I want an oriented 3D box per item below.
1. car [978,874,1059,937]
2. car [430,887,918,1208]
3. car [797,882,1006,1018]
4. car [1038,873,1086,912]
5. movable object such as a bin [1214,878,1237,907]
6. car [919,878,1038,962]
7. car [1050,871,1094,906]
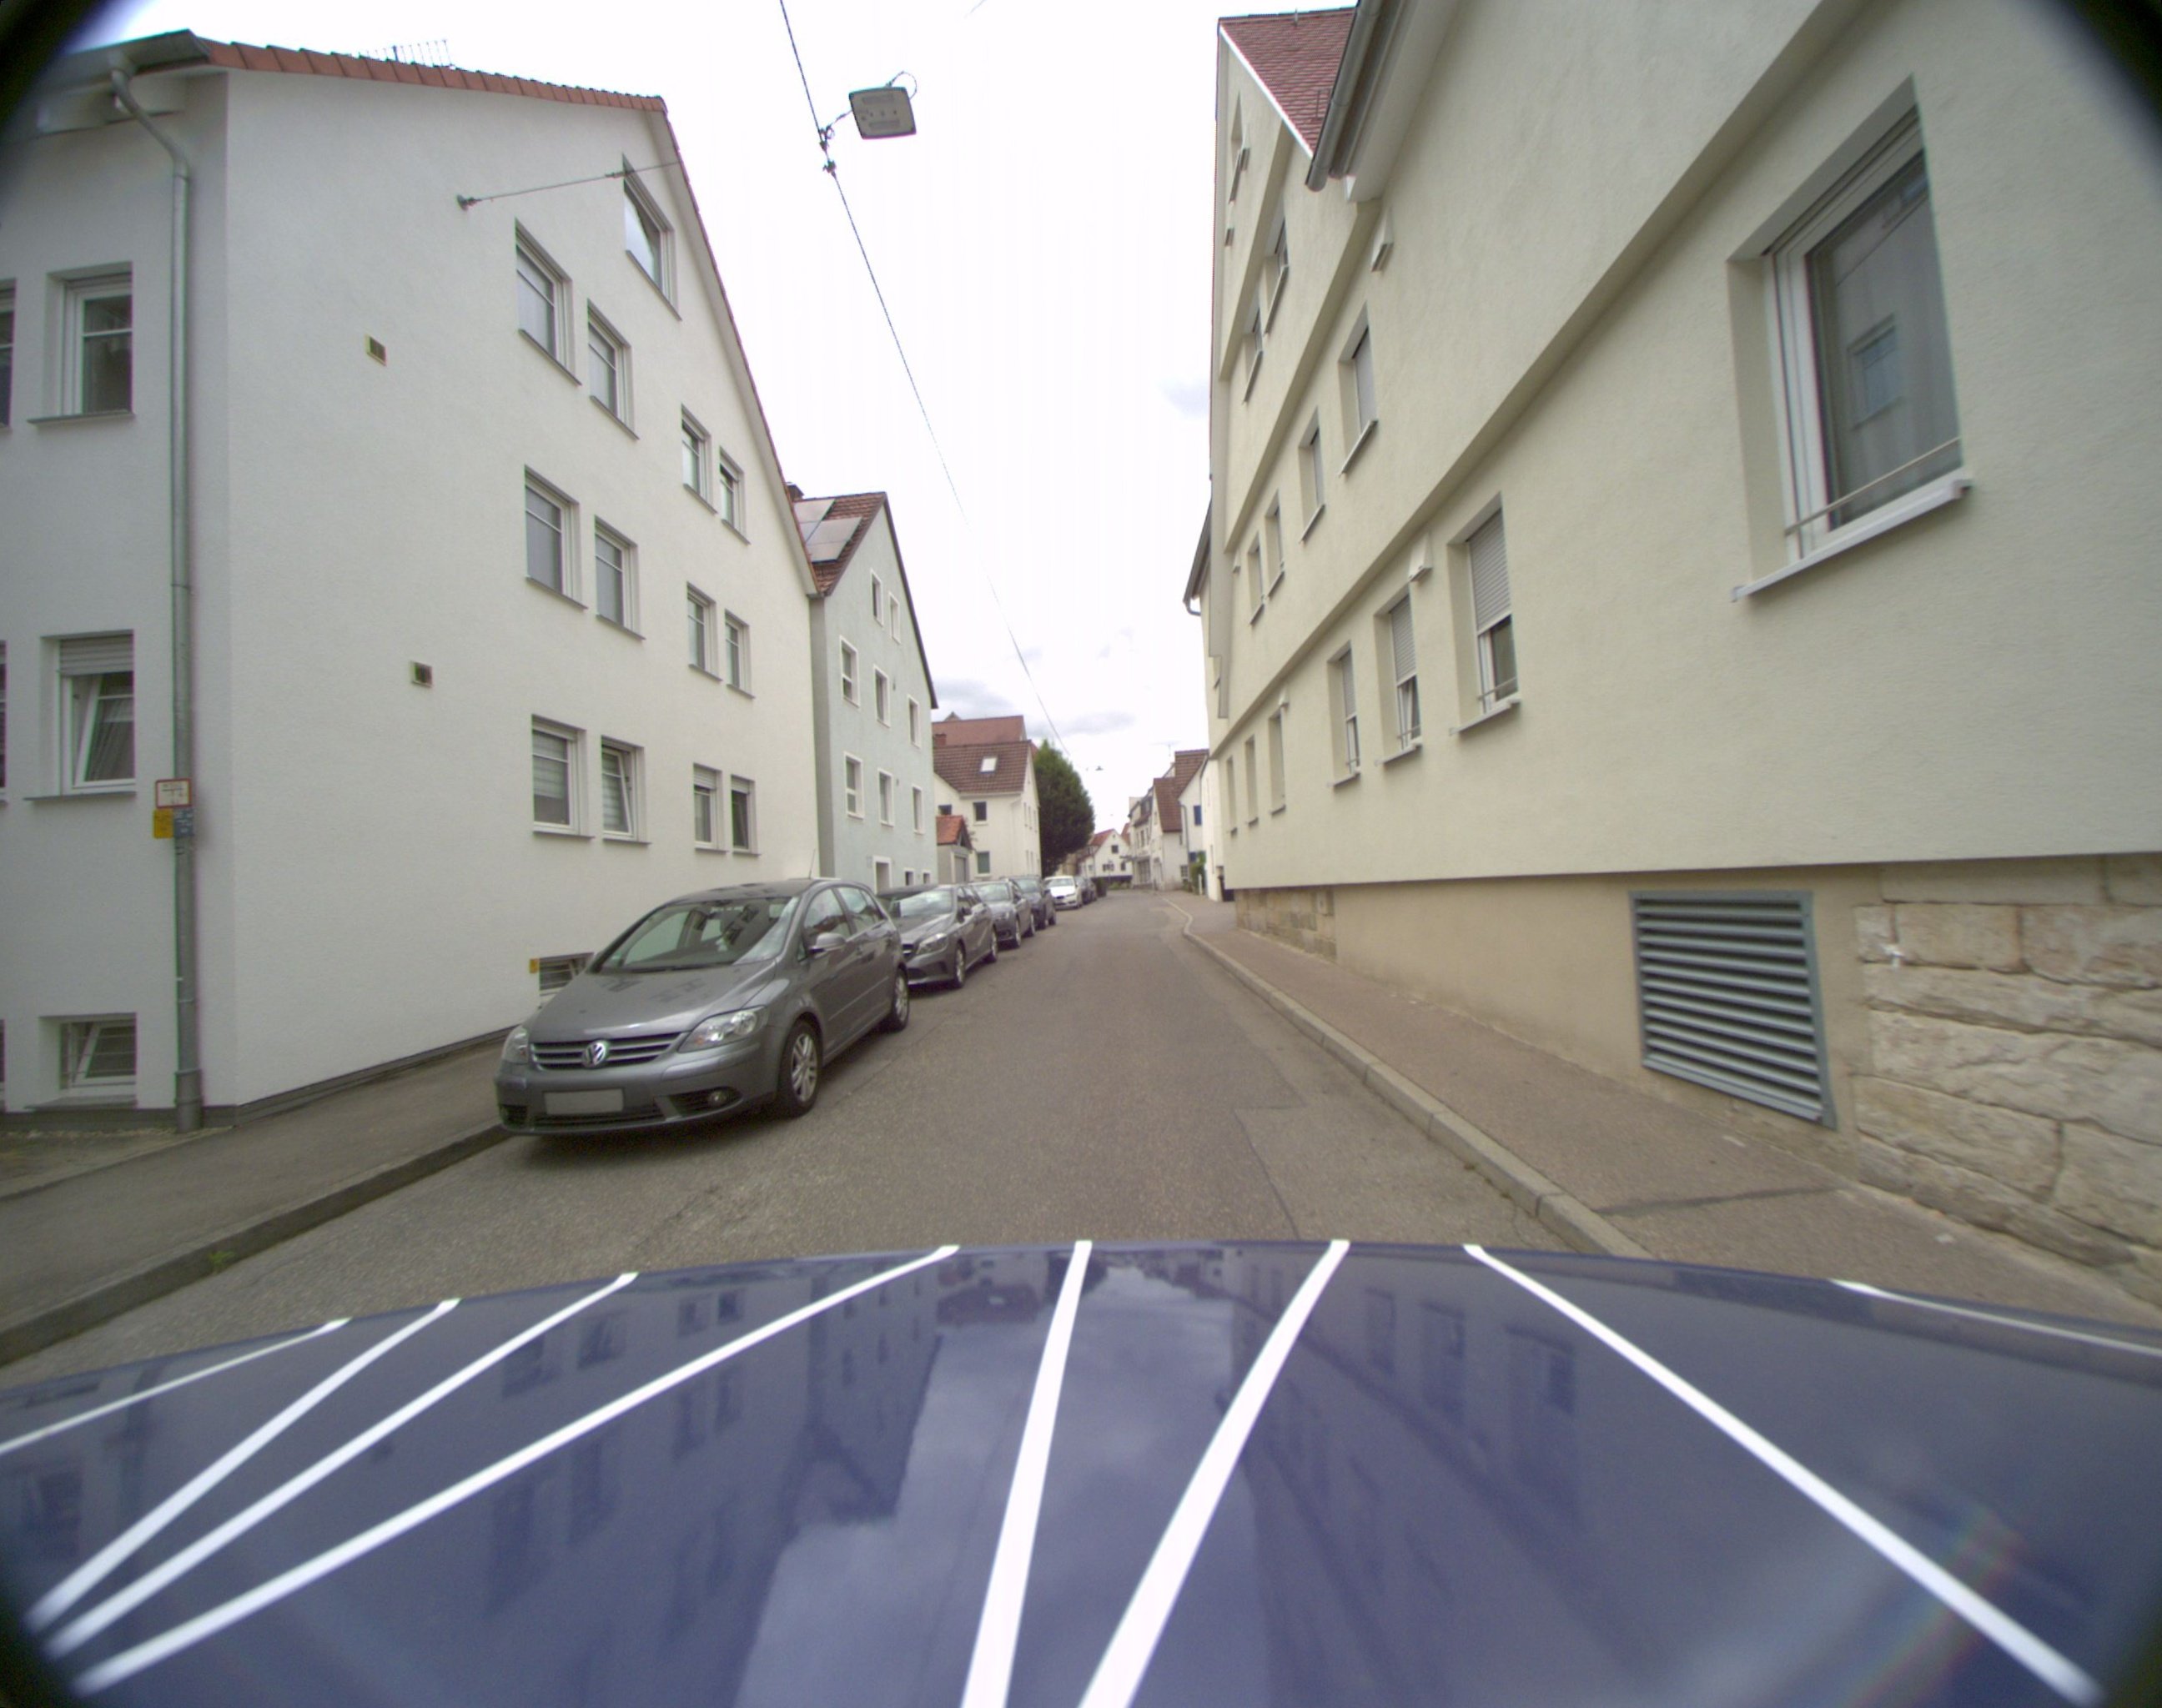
[{"bbox_3d":[-1.673,1.395,21.425,1.642,1.502,3.843,-4,-2,3],"label":"car"},{"bbox_3d":[-2.700,1.167,6.210,1.739,1.554,3.909,-5,-1,1],"label":"car"},{"bbox_3d":[-2.406,1.258,11.308,1.812,1.434,3.960,-5,-1,4],"label":"car"},{"bbox_3d":[-0.809,1.718,34.691,1.770,1.553,4.042,-4,-2,3],"label":"car"},{"bbox_3d":[5.507,1.458,28.970,0.641,1.025,0.796,-7,-3,21],"label":"movable object such as a bin"},{"bbox_3d":[-2.067,1.319,16.524,1.729,1.434,4.267,-5,-2,2],"label":"car"},{"bbox_3d":[-0.403,1.812,40.337,1.770,1.610,4.285,-5,-2,5],"label":"car"}]
